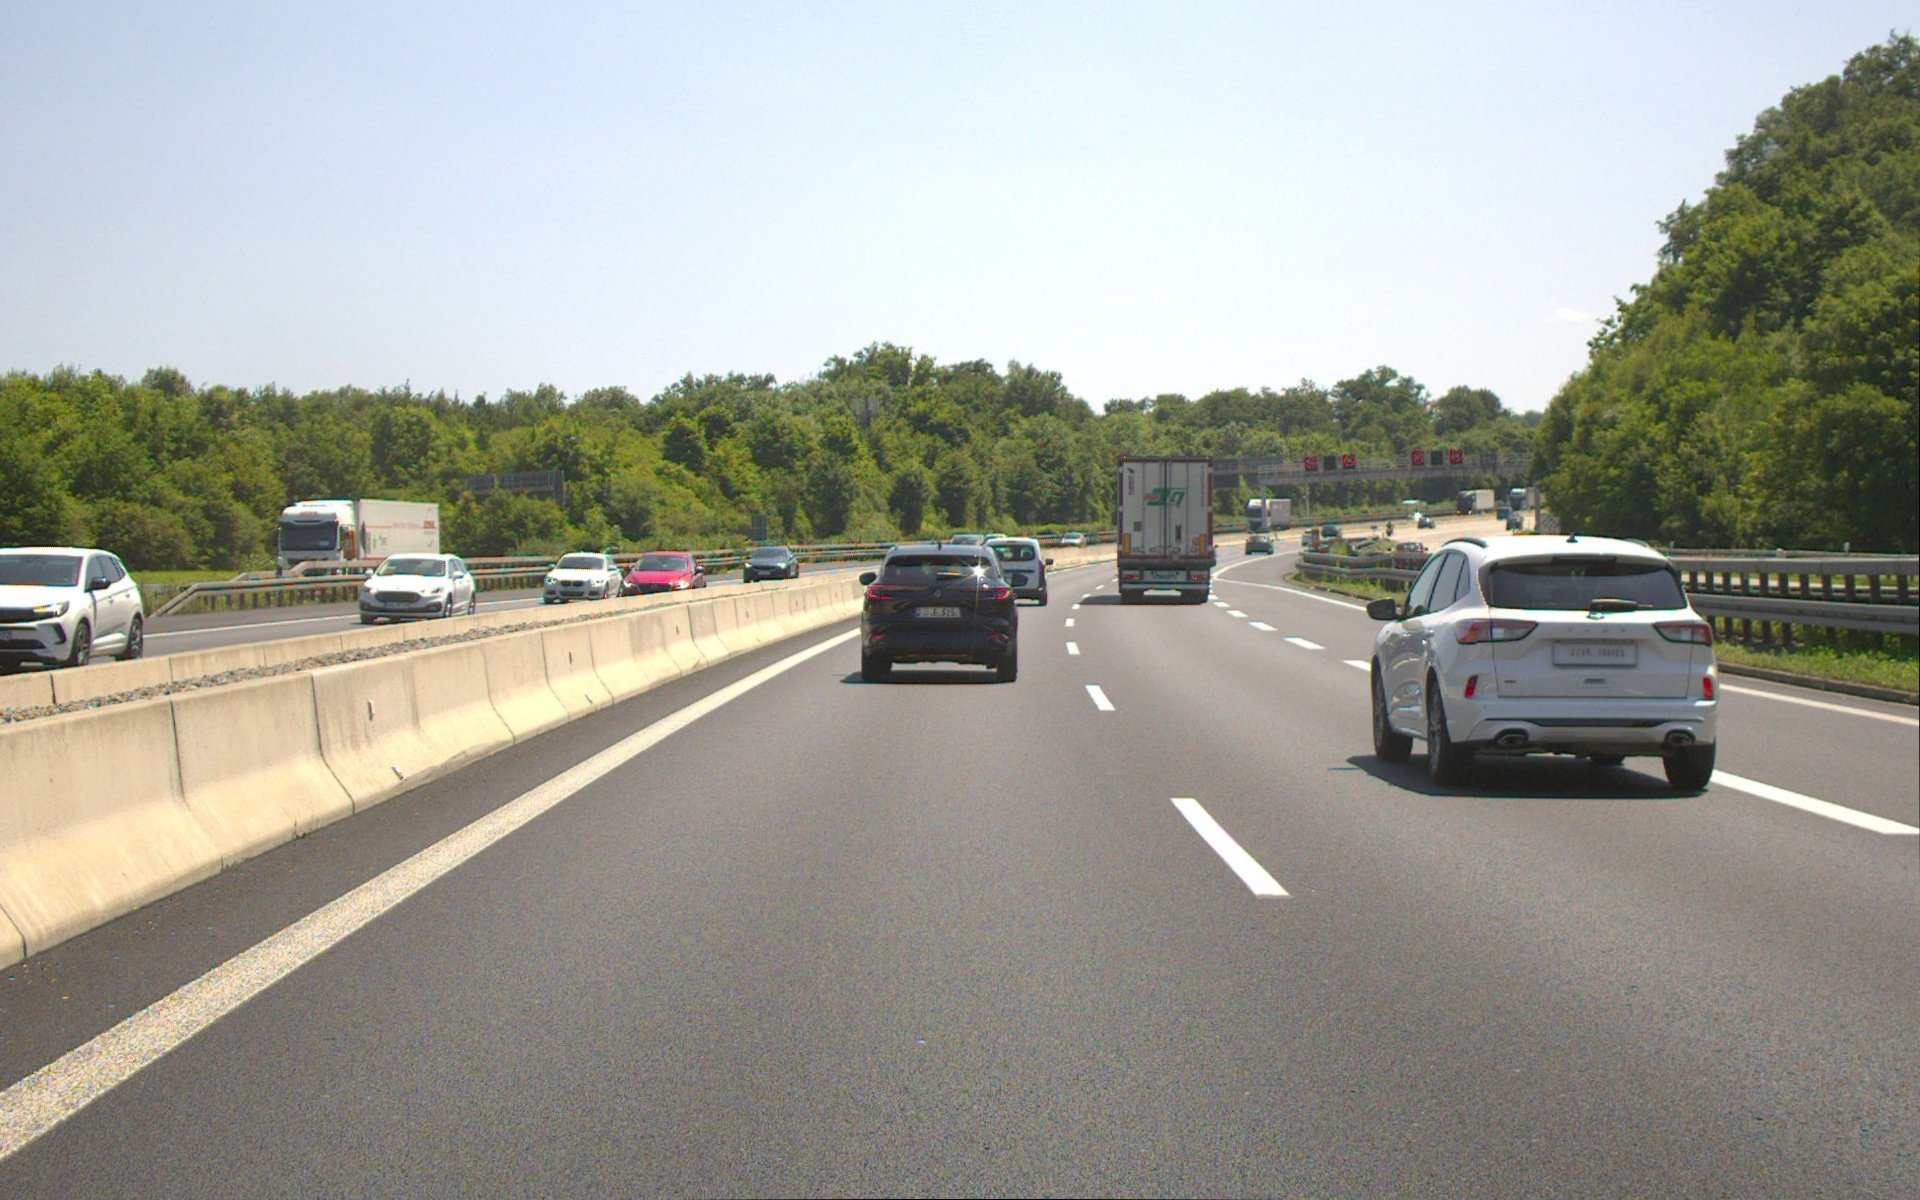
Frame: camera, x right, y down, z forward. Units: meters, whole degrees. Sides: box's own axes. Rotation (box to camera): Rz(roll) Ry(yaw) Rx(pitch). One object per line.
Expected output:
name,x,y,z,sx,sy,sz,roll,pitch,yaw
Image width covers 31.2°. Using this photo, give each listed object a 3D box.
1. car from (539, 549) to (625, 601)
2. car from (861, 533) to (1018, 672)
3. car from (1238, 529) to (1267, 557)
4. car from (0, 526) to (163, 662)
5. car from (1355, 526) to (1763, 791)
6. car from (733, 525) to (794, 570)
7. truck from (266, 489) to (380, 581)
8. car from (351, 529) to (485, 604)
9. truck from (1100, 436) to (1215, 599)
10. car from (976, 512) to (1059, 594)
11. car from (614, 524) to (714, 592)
car,-10.672,-0.717,97.373,1.850,1.390,4.000,1,1,2
car,-0.277,0.007,40.940,1.779,1.572,4.000,0,0,-1
car,21.322,-4.120,250.320,1.994,2.007,3.999,0,0,7
car,-11.800,-0.090,44.258,1.868,1.660,4.664,0,1,2
car,4.006,0.344,23.756,1.993,1.656,4.468,0,1,-1
car,-8.034,-2.144,140.929,1.993,1.818,4.905,0,1,2
truck,-24.634,-2.492,133.110,3.083,3.491,5.409,0,0,4
car,-11.497,-0.718,73.205,1.993,1.538,5.041,0,1,1
truck,5.568,-2.287,98.842,3.032,4.403,12.018,0,1,2
car,1.505,-1.265,91.572,1.993,2.007,4.000,-3,1,0
car,-7.352,-1.041,85.796,1.993,1.653,4.634,0,1,2
